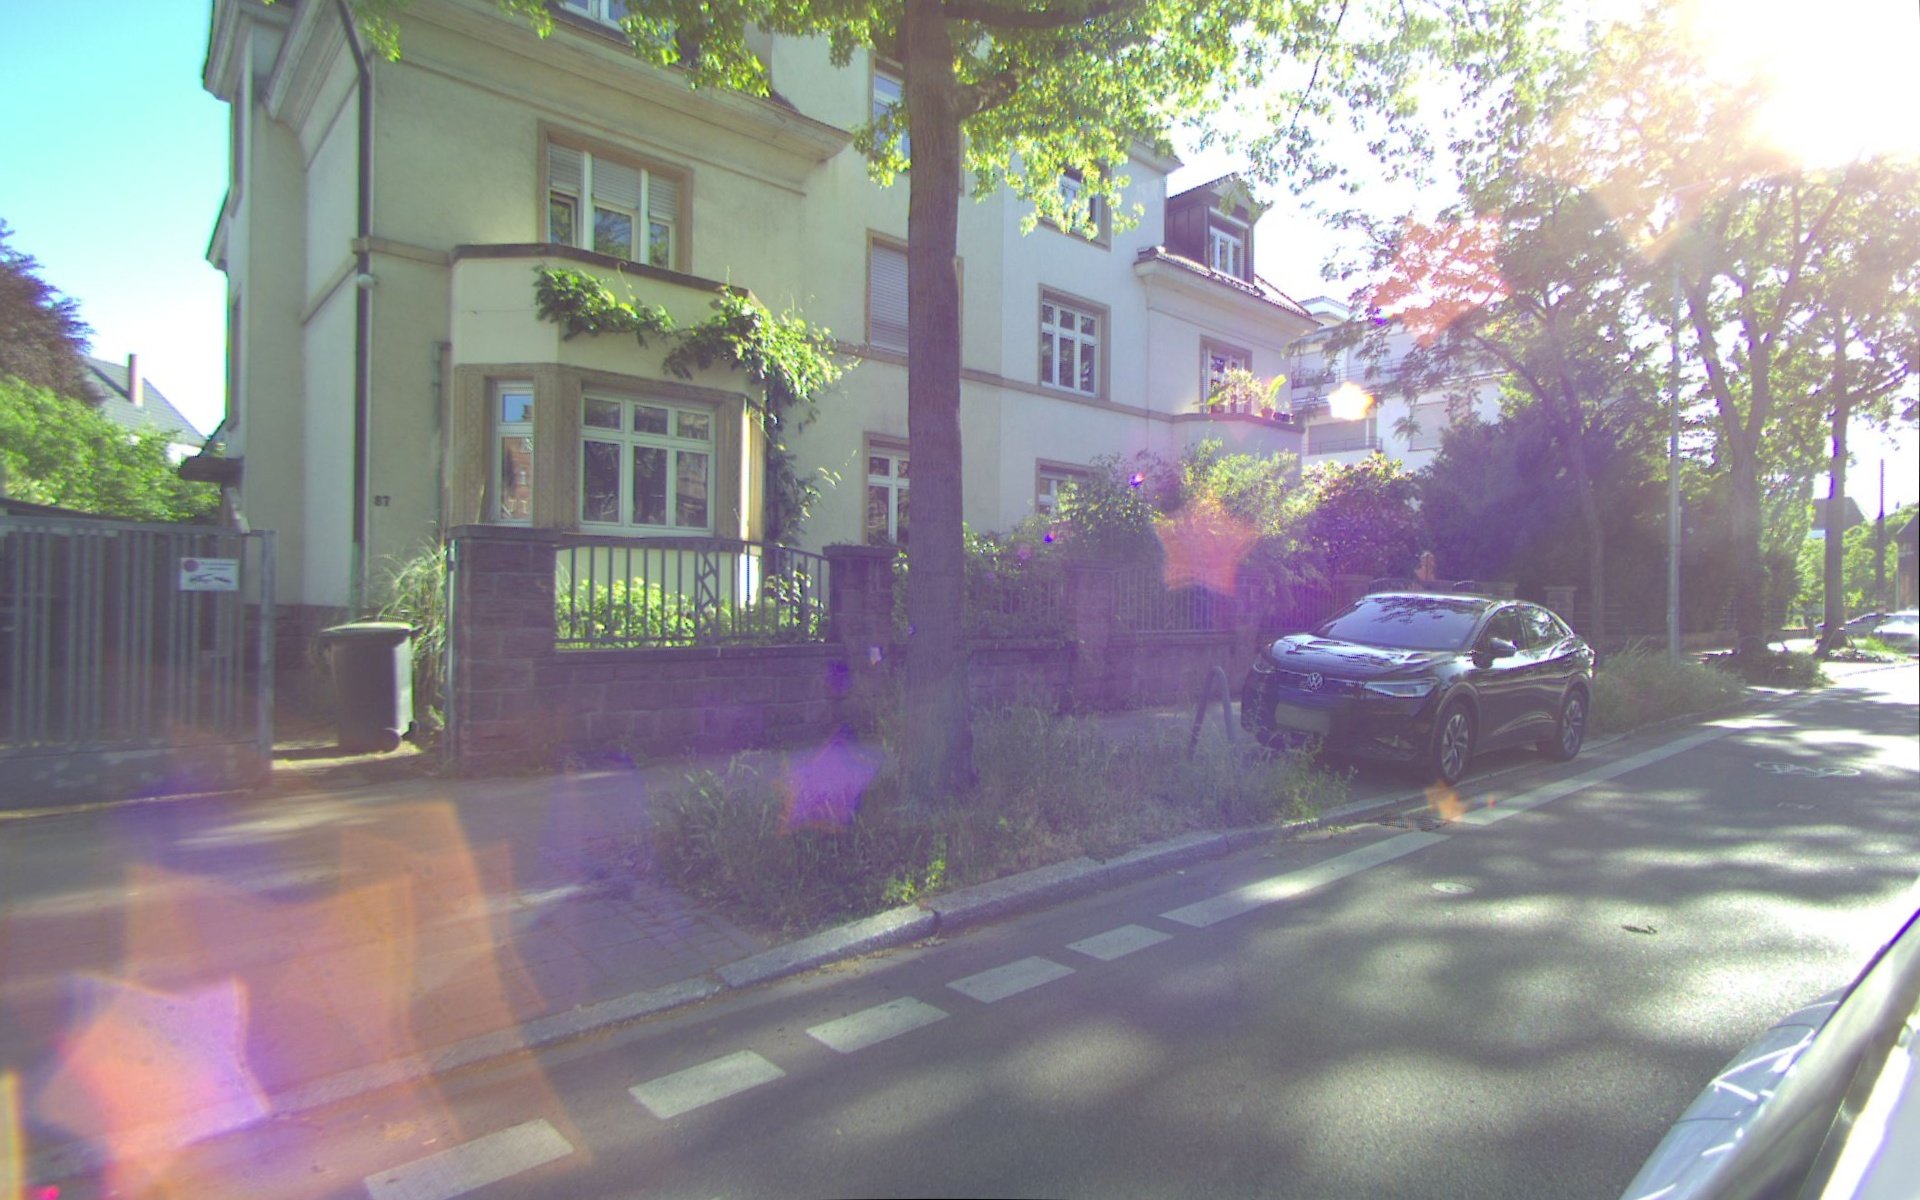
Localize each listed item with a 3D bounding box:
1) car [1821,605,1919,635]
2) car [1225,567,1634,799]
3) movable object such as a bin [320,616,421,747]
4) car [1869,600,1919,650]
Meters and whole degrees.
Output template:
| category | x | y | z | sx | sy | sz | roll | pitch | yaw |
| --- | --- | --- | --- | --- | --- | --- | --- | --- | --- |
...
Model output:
| category | x | y | z | sx | sy | sz | roll | pitch | yaw |
| --- | --- | --- | --- | --- | --- | --- | --- | --- | --- |
| car | 45.717 | 0.968 | 50.009 | 1.933 | 1.386 | 4.522 | 0 | 0 | -38 |
| car | 4.806 | 0.635 | 10.025 | 4.645 | 1.714 | 1.809 | 0 | 4 | -40 |
| movable object such as a bin | -5.081 | 0.680 | 8.758 | 0.634 | 1.061 | 0.659 | 1 | 0 | -19 |
| car | 30.249 | 0.758 | 31.586 | 4.252 | 1.440 | 1.999 | 0 | 1 | -37 |
